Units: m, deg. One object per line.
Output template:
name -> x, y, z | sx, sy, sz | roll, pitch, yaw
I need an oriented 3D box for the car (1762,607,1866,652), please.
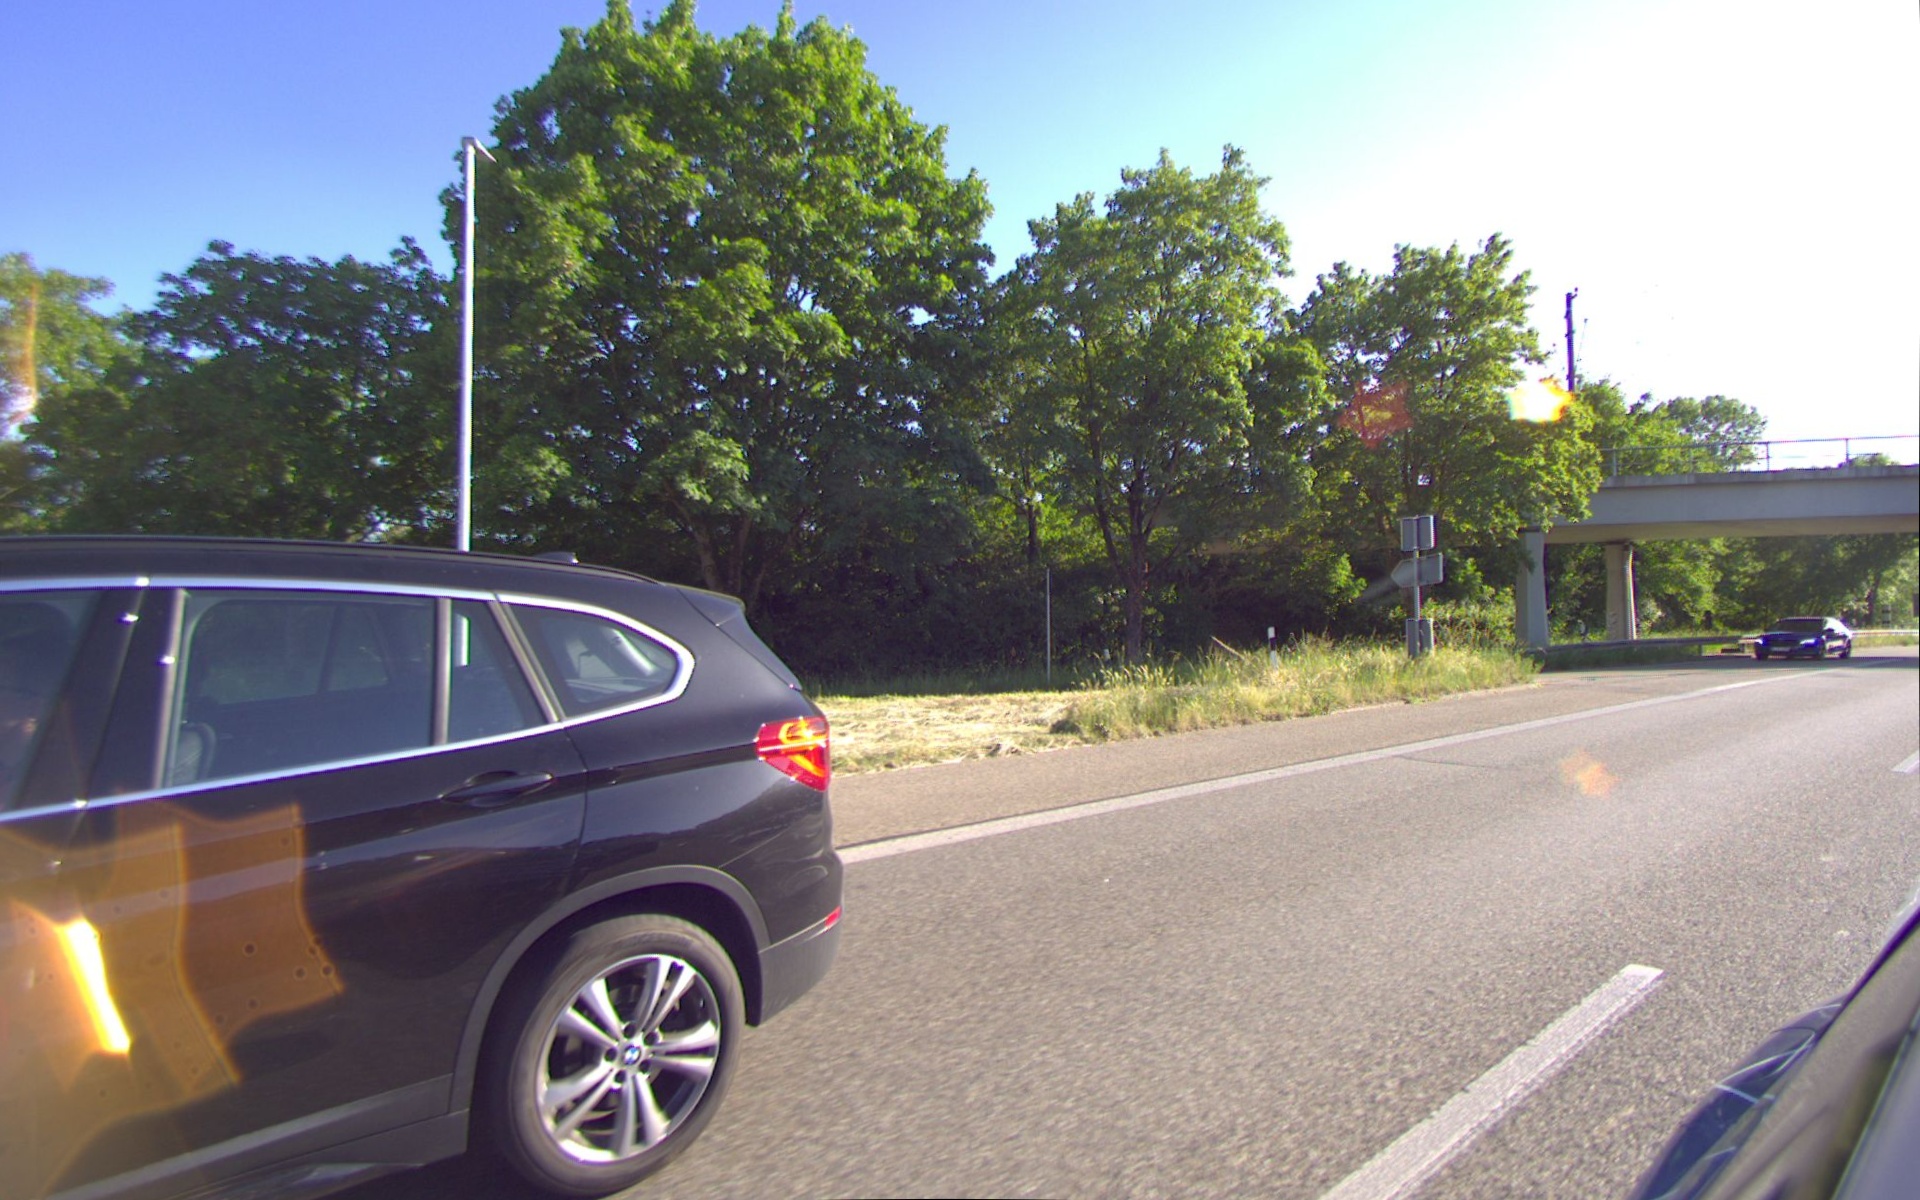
car -> 29.056, 0.981, 34.421 | 3.978, 1.427, 1.764 | 1, -1, -36

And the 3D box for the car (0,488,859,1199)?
car -> -2.526, 0.599, 2.119 | 4.443, 1.593, 1.757 | 1, -1, -42
